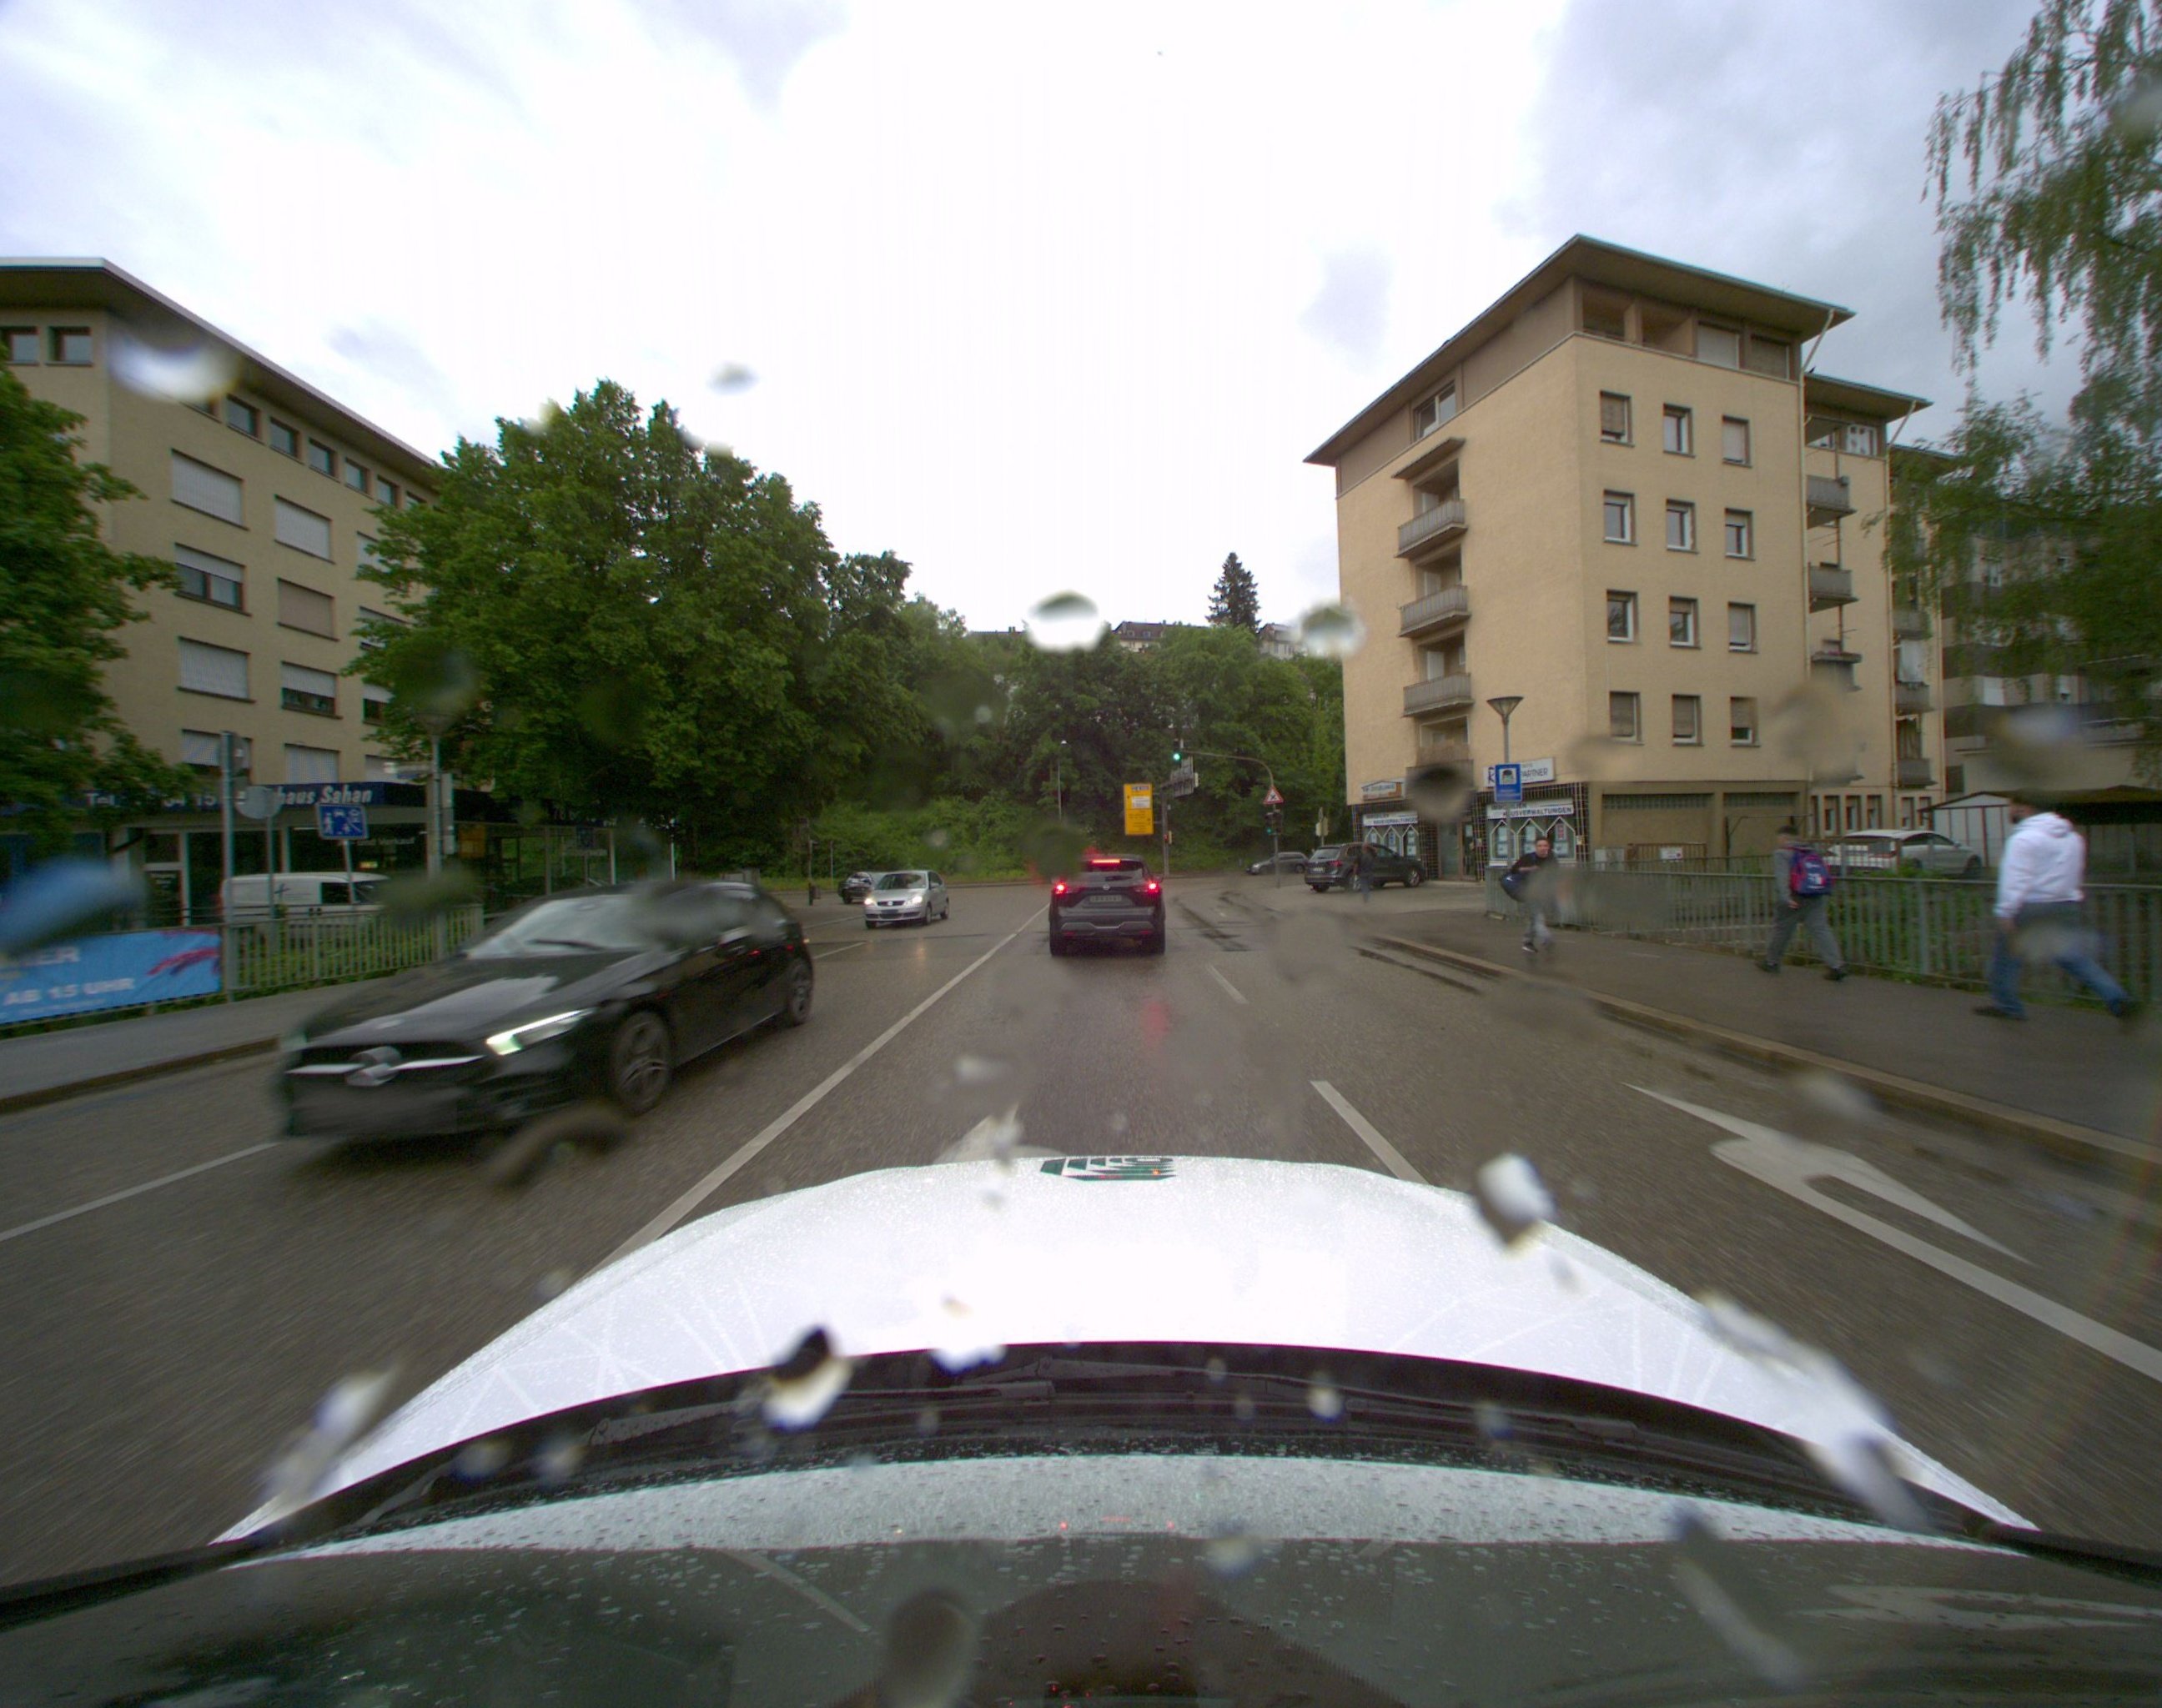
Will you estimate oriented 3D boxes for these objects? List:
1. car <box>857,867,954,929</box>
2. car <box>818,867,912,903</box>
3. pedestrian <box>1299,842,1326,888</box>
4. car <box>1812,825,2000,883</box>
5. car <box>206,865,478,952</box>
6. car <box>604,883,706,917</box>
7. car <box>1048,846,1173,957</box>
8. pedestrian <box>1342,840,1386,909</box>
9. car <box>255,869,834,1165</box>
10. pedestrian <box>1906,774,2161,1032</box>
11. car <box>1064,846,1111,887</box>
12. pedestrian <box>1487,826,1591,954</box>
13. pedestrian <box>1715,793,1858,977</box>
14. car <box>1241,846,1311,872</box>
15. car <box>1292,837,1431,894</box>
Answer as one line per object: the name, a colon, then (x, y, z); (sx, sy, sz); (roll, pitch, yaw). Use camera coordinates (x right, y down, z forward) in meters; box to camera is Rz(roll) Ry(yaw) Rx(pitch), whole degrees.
car: (-4.644, 1.122, 22.053); (1.620, 1.419, 3.688); (-2, -1, 2)
car: (-9.937, 1.415, 37.293); (4.370, 1.459, 1.745); (-3, -1, 36)
pedestrian: (8.465, 0.396, 29.791); (0.655, 1.600, 0.795); (-4, 0, -1)
car: (23.261, -0.049, 22.993); (4.447, 1.376, 1.808); (-2, 2, -15)
car: (-18.633, 1.317, 20.770); (4.738, 1.854, 1.995); (-2, 2, -8)
car: (-21.489, 2.287, 41.166); (4.173, 1.450, 1.819); (-2, 0, 5)
car: (0.491, 0.728, 14.098); (1.804, 1.603, 4.001); (-2, -1, 1)
pedestrian: (7.158, 0.504, 20.615); (0.758, 1.677, 0.781); (-4, 0, 1)
car: (-3.511, 0.916, 6.430); (1.703, 1.416, 4.095); (-3, 0, 1)
pedestrian: (7.169, 0.338, 6.137); (0.777, 1.752, 1.061); (-2, 0, 1)
car: (0.307, 0.475, 33.989); (1.804, 1.603, 4.002); (0, 1, 1)
pedestrian: (6.144, 0.463, 10.965); (0.859, 1.619, 0.840); (-3, 0, 1)
pedestrian: (7.390, 0.306, 8.565); (0.758, 1.809, 0.781); (-3, 0, 1)
car: (13.479, 0.341, 56.365); (4.325, 1.502, 1.877); (-3, 0, -10)
car: (9.677, 0.379, 28.052); (4.388, 1.649, 1.868); (-3, 0, -24)
